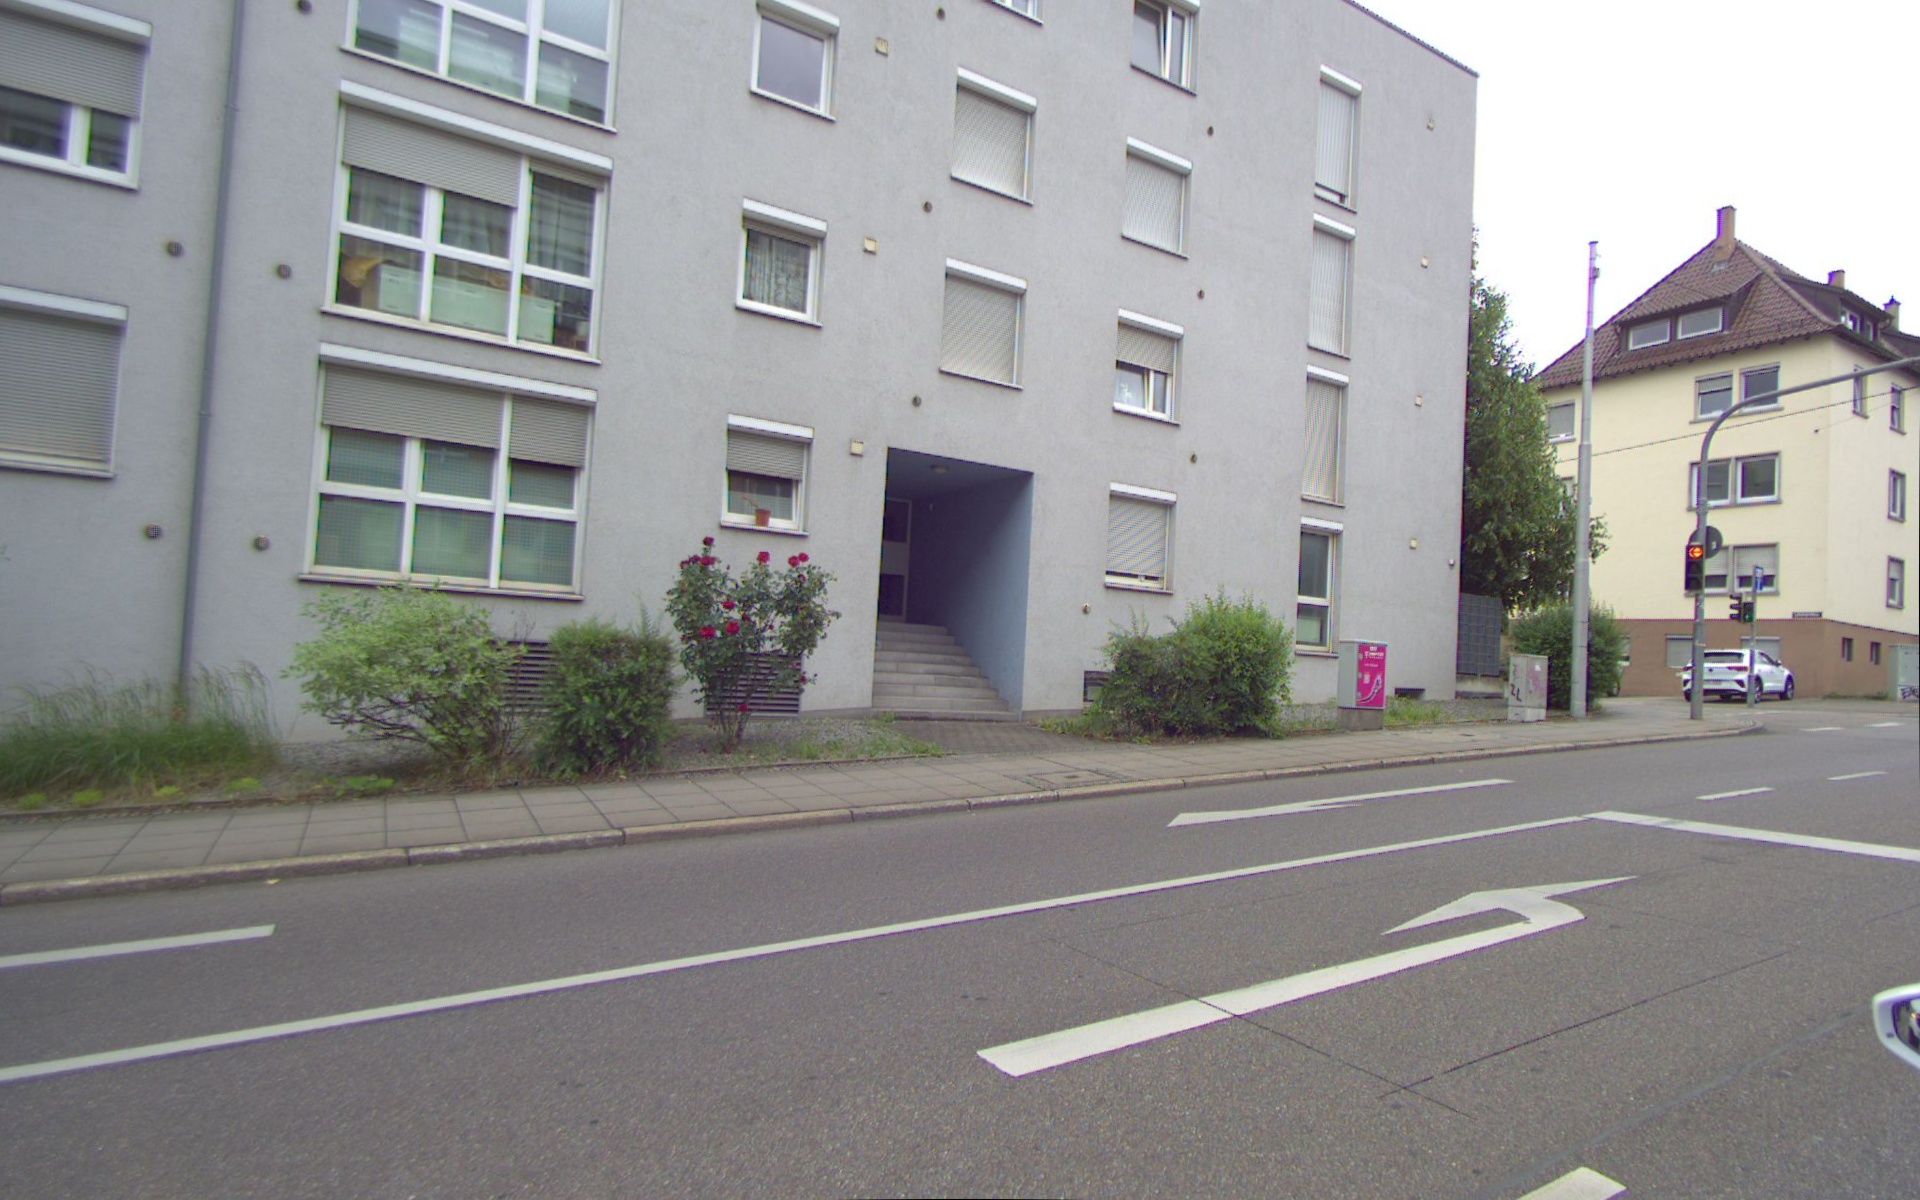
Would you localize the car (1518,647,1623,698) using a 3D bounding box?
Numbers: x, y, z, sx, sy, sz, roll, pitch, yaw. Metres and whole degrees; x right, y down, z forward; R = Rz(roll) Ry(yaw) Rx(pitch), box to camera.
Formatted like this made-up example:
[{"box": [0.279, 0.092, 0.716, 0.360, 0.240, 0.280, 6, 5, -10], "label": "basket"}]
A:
[{"box": [21.049, 2.463, 34.606, 3.727, 1.629, 1.681, 1, -4, -34], "label": "car"}]

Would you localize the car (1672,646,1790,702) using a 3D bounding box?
[{"box": [23.048, 2.174, 29.993, 3.727, 1.575, 1.681, 1, -4, -34], "label": "car"}]
